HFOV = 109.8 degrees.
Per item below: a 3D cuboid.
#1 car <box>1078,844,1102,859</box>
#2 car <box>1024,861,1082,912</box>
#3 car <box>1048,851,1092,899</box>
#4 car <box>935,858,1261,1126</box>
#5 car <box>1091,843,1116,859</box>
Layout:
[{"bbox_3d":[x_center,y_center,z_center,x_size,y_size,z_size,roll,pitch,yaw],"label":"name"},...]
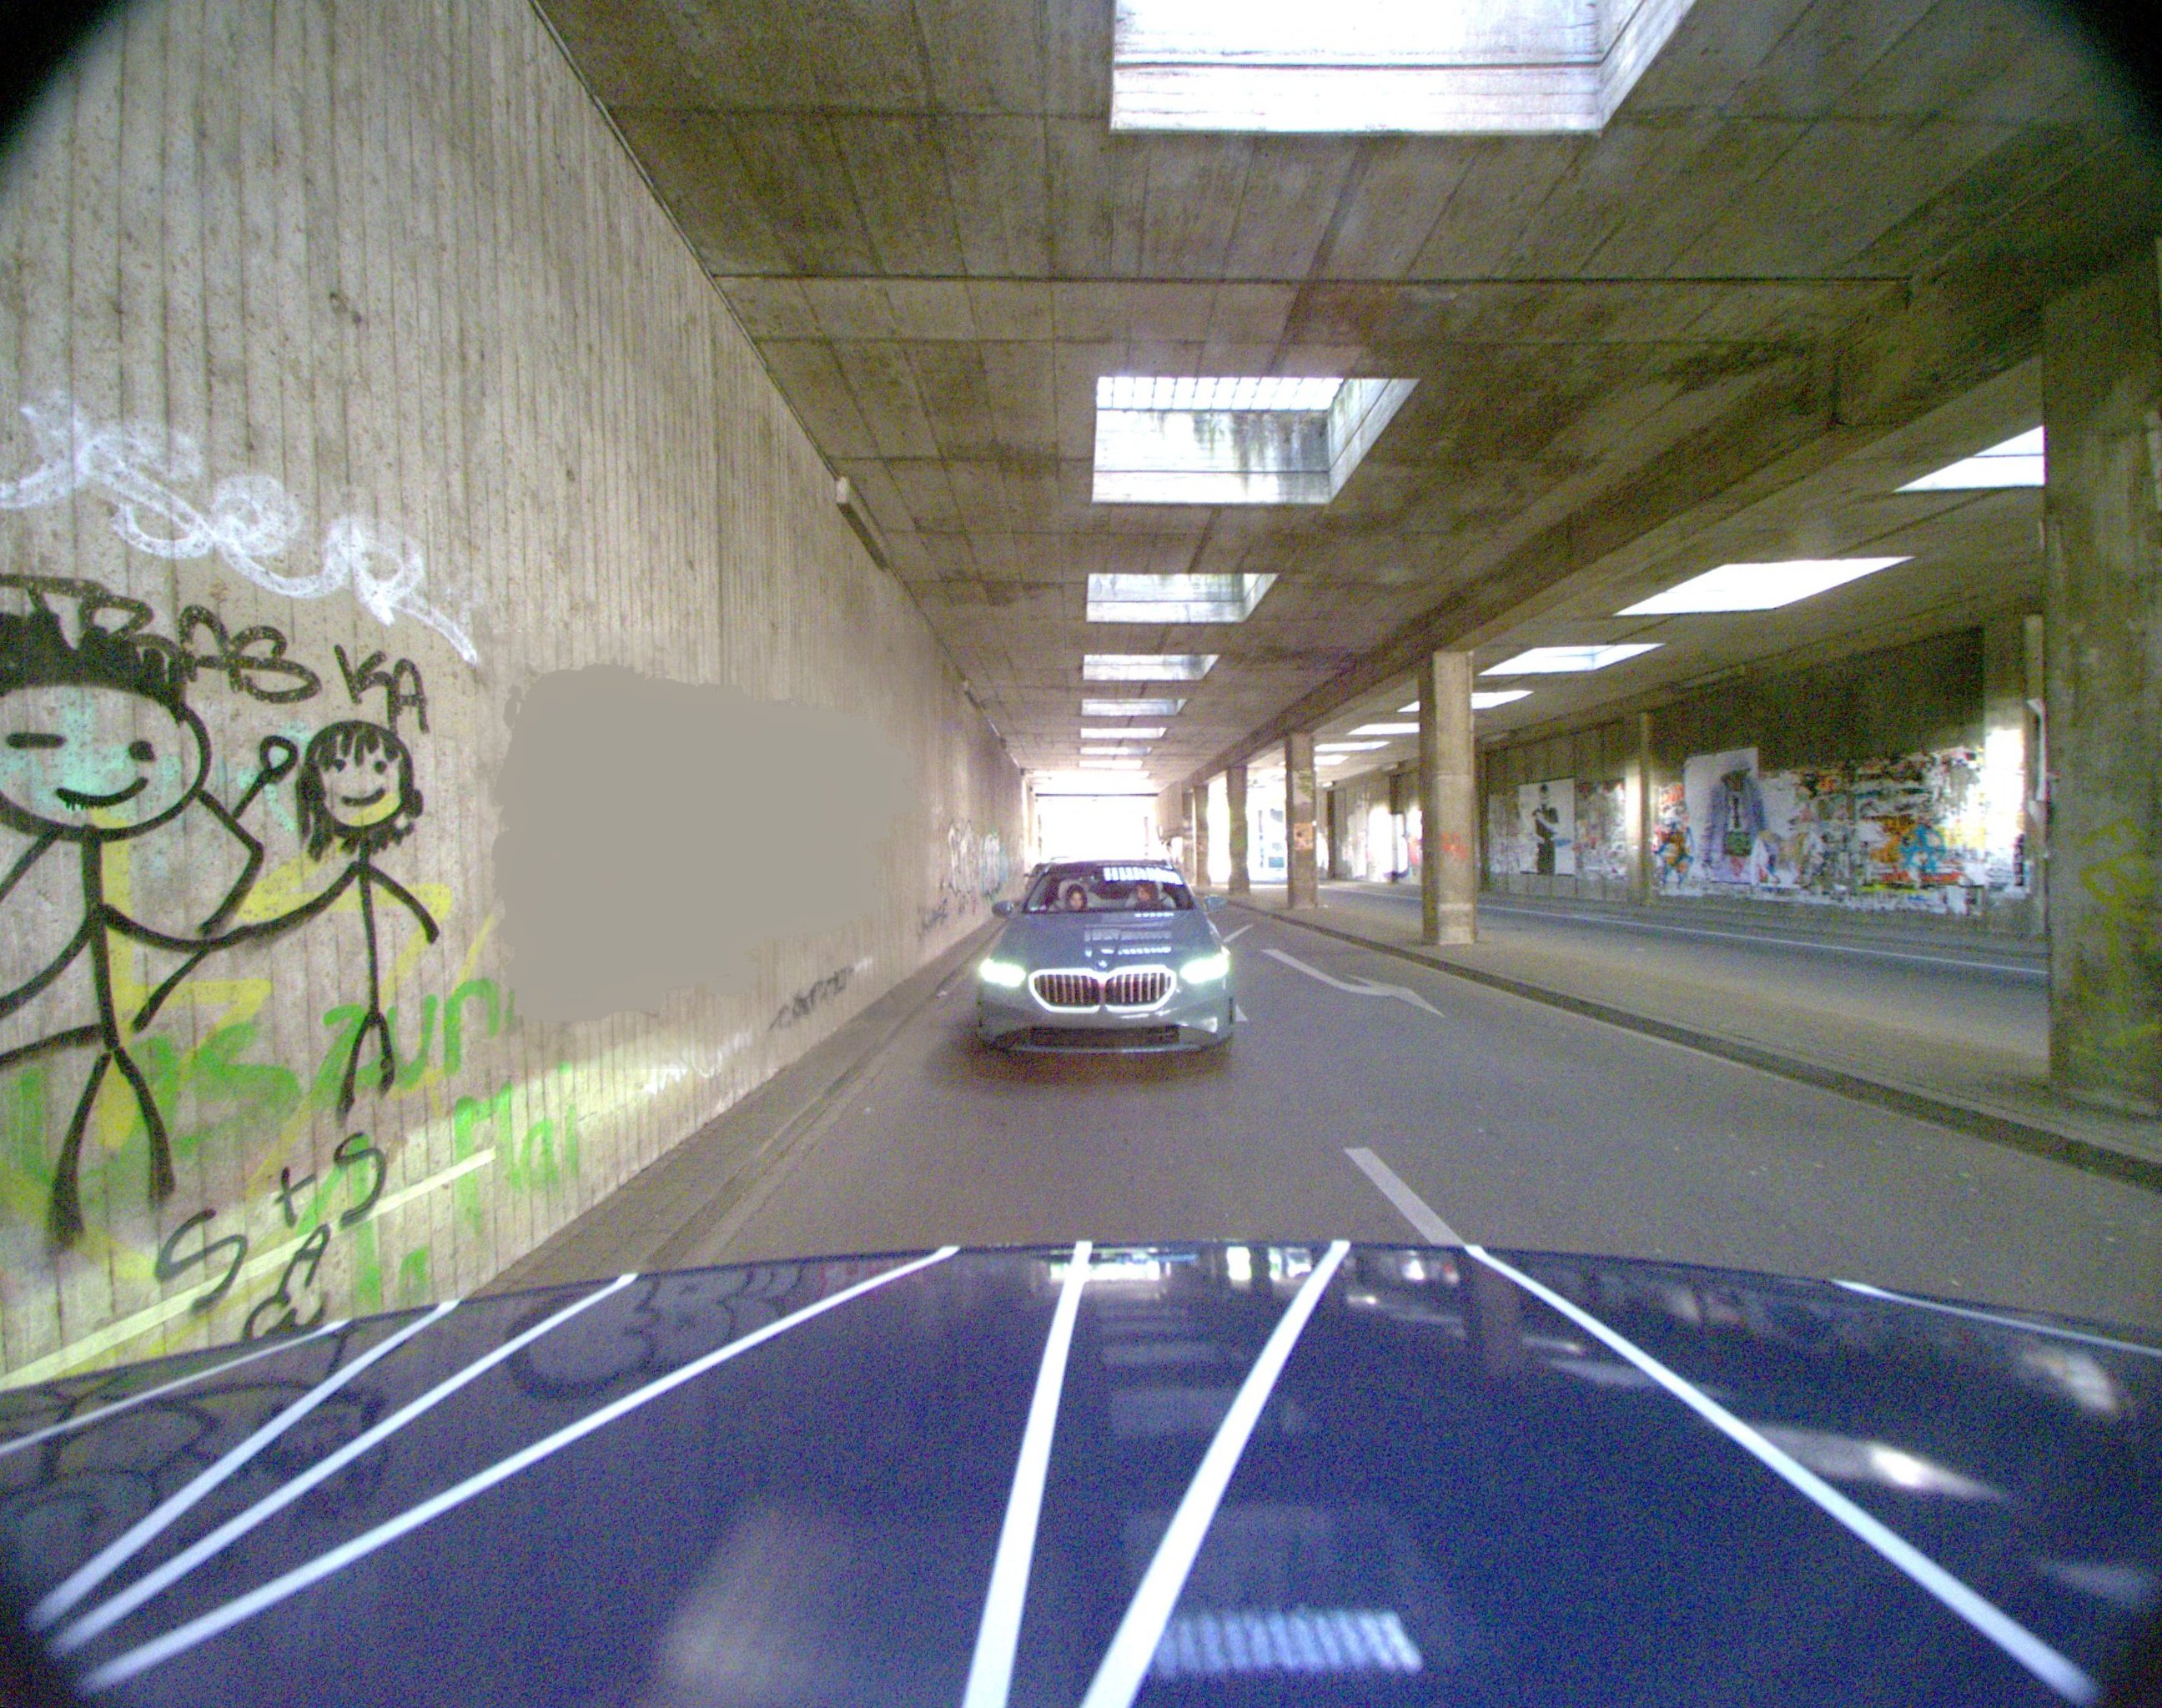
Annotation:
[{"bbox_3d":[1.189,-0.352,103.545,2.361,2.002,5.146,-1,0,-8],"label":"car"},{"bbox_3d":[-0.796,0.948,23.894,1.593,1.387,3.833,-2,0,1],"label":"car"},{"bbox_3d":[-0.374,0.766,29.901,1.581,1.676,4.078,-2,0,1],"label":"car"},{"bbox_3d":[0.182,0.883,7.320,1.998,1.594,5.176,-1,0,2],"label":"car"},{"bbox_3d":[2.844,-0.347,97.532,2.361,2.002,5.146,-1,0,-8],"label":"car"}]
